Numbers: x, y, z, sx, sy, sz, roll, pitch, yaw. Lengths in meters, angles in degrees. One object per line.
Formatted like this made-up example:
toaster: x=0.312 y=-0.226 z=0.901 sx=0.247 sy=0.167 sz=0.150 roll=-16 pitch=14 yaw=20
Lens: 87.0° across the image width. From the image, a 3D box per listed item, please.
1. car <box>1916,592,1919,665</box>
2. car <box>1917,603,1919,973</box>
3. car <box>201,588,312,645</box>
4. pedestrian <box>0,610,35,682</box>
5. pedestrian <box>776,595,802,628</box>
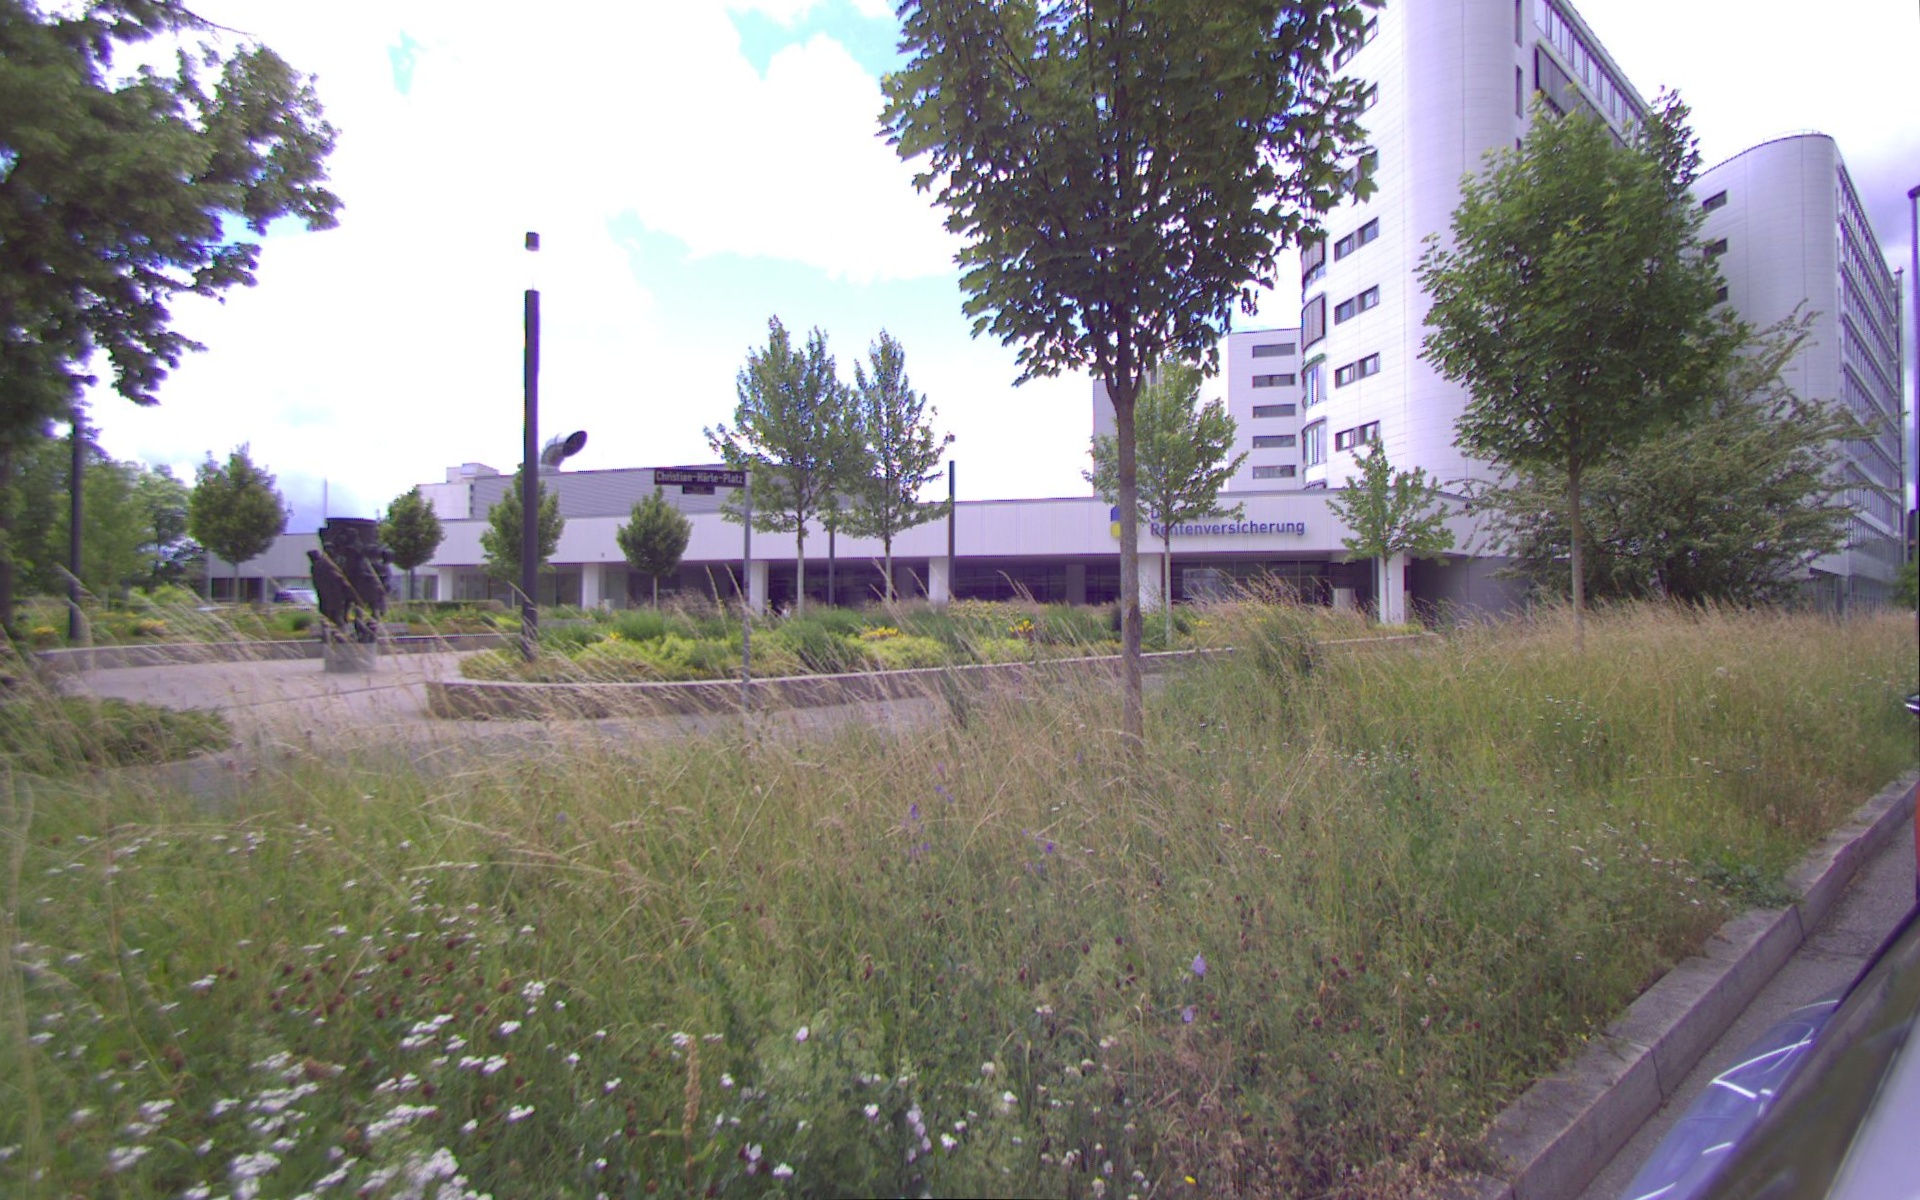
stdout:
car: x=22.616 y=0.637 z=22.487 sx=3.386 sy=1.594 sz=1.736 roll=0 pitch=0 yaw=-42
car: x=5.911 y=0.745 z=4.745 sx=3.930 sy=1.498 sz=1.691 roll=-1 pitch=0 yaw=-41
car: x=-23.376 y=0.514 z=33.619 sx=3.470 sy=1.788 sz=1.622 roll=0 pitch=0 yaw=27
pedestrian: x=-17.460 y=0.836 z=18.677 sx=0.560 sy=1.278 sz=0.581 roll=0 pitch=0 yaw=-43
pedestrian: x=-6.830 y=0.446 z=40.420 sx=0.869 sy=1.290 sz=0.704 roll=1 pitch=0 yaw=2
